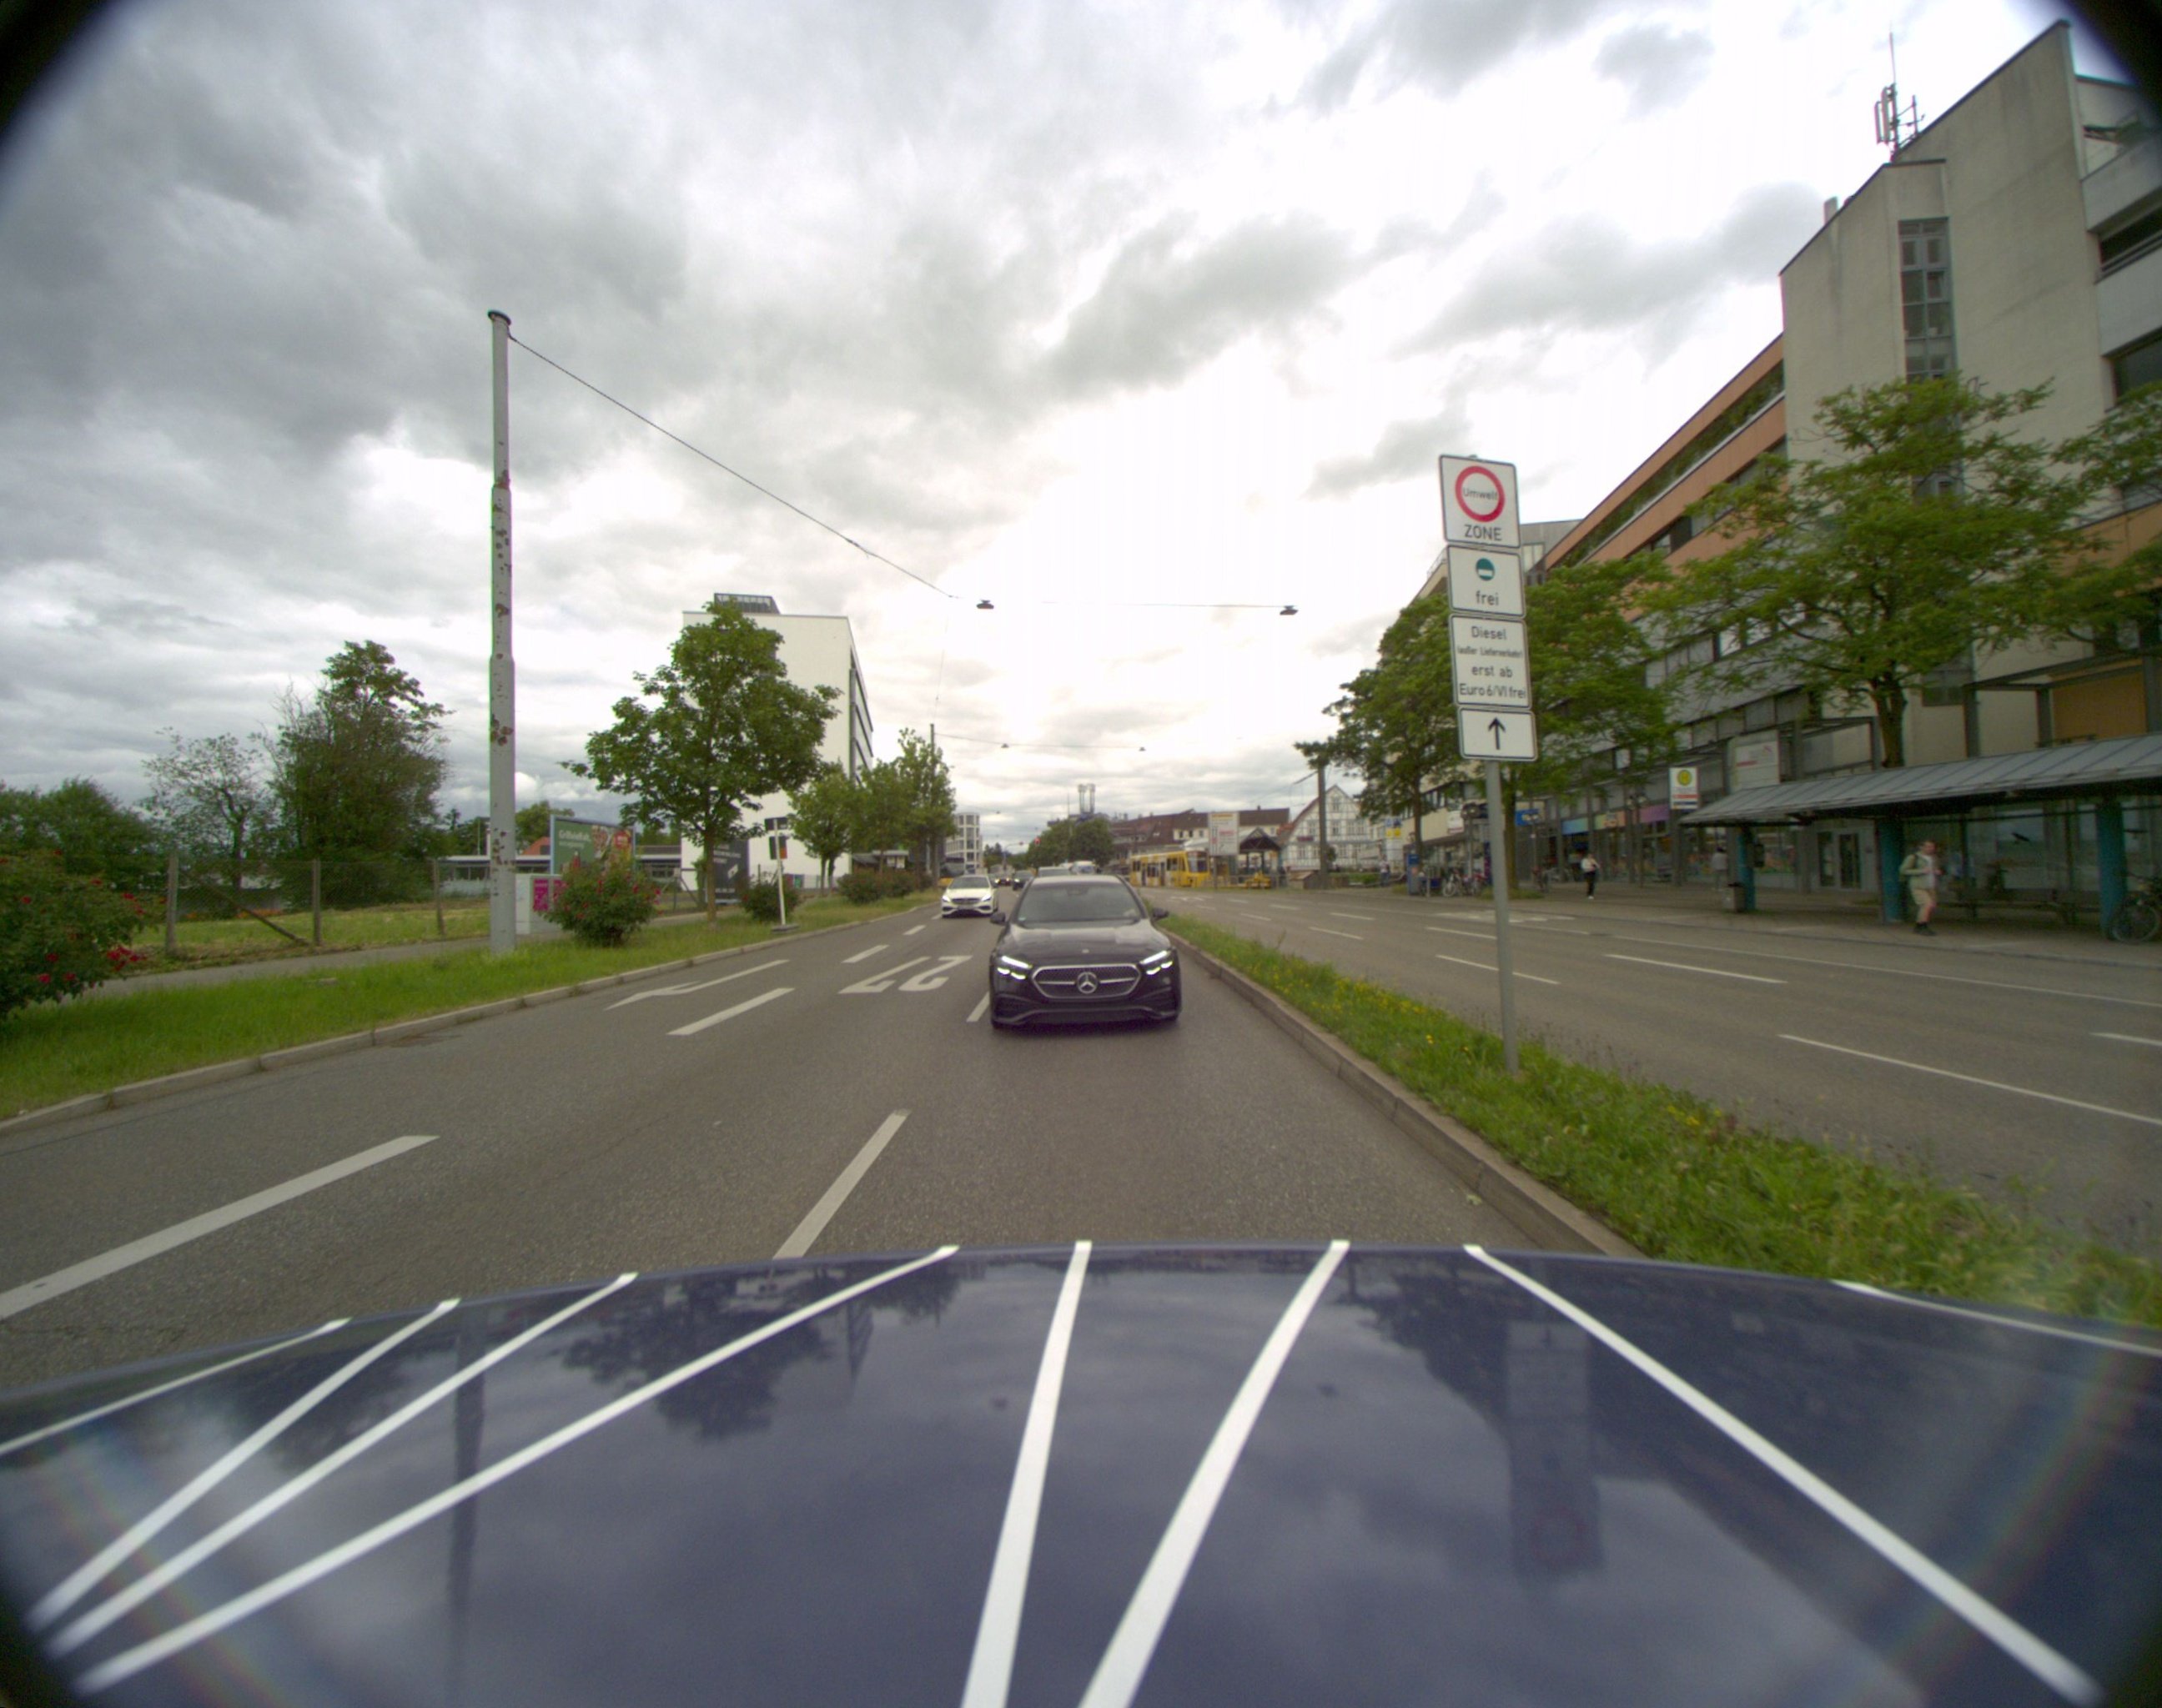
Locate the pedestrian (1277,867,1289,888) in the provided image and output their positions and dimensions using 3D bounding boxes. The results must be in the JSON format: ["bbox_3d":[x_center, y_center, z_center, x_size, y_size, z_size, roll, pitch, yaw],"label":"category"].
[{"bbox_3d":[14.887,1.717,55.922,0.601,1.564,0.620,-1,-1,-10],"label":"pedestrian"}]

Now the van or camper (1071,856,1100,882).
[{"bbox_3d":[0.434,1.616,80.191,2.039,2.582,6.112,1,-1,-9],"label":"van or camper"}]

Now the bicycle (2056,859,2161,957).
[{"bbox_3d":[18.529,0.860,12.942,2.908,1.497,0.972,-3,-1,-7],"label":"bicycle"}]

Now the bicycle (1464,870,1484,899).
[{"bbox_3d":[16.406,1.256,31.709,0.603,1.154,1.693,-1,-2,32],"label":"bicycle"}]

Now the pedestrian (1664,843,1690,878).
[{"bbox_3d":[28.545,0.320,36.401,0.651,1.690,0.668,-1,-1,-7],"label":"pedestrian"}]

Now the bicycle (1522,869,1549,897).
[{"bbox_3d":[19.406,1.234,32.434,0.672,1.154,2.023,-2,-2,40],"label":"bicycle"}]

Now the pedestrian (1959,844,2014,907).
[{"bbox_3d":[23.679,0.559,19.875,0.634,1.590,0.622,-3,0,-3],"label":"pedestrian"}]

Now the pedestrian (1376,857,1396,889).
[{"bbox_3d":[18.205,1.134,45.416,0.747,1.866,0.873,-1,-1,-7],"label":"pedestrian"}]

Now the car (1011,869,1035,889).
[{"bbox_3d":[-4.568,1.963,59.642,1.736,1.474,4.368,-2,-1,-5],"label":"car"}]

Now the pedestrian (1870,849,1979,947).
[{"bbox_3d":[16.494,0.831,14.901,0.705,1.812,1.213,-3,0,-2],"label":"pedestrian"}]

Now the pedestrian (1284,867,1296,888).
[{"bbox_3d":[15.531,1.724,56.451,0.601,1.564,0.620,-1,-1,-10],"label":"pedestrian"}]

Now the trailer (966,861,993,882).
[{"bbox_3d":[-22.061,3.853,164.690,3.115,4.242,14.829,-1,-2,-18],"label":"trailer"}]

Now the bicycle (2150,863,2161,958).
[{"bbox_3d":[18.725,0.822,11.960,2.908,1.497,0.891,-3,0,-7],"label":"bicycle"}]

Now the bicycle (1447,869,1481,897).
[{"bbox_3d":[16.703,1.262,33.147,0.604,1.154,1.966,-1,-1,4],"label":"bicycle"}]

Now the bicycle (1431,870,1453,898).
[{"bbox_3d":[15.589,1.282,32.808,0.603,1.154,1.969,-1,-2,33],"label":"bicycle"}]

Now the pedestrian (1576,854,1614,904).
[{"bbox_3d":[18.279,0.875,27.046,0.777,1.702,0.706,-3,0,-5],"label":"pedestrian"}]

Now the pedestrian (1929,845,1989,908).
[{"bbox_3d":[23.006,0.580,19.913,0.668,1.574,0.706,-3,0,-5],"label":"pedestrian"}]

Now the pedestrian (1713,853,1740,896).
[{"bbox_3d":[24.343,0.758,28.646,0.633,1.590,0.624,-3,0,32],"label":"pedestrian"}]

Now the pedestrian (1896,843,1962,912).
[{"bbox_3d":[21.849,0.597,19.600,0.774,1.706,0.788,-3,0,18],"label":"pedestrian"}]

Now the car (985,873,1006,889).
[{"bbox_3d":[-8.390,2.621,74.491,1.736,1.474,4.366,-2,-1,-10],"label":"car"}]

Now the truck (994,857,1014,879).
[{"bbox_3d":[-14.435,2.683,141.779,2.948,3.933,9.160,1,-2,-9],"label":"truck"}]

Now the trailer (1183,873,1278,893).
[{"bbox_3d":[11.258,2.182,58.887,2.851,1.324,12.117,-1,-2,-11],"label":"trailer"}]

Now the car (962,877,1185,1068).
[{"bbox_3d":[-0.109,1.113,9.085,1.872,1.542,4.774,-4,-1,-1],"label":"car"}]

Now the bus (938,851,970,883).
[{"bbox_3d":[-13.614,1.462,81.187,3.047,3.216,9.331,0,-2,-11],"label":"bus"}]

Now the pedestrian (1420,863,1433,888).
[{"bbox_3d":[24.095,1.510,52.964,0.551,1.690,0.628,-1,-1,-9],"label":"pedestrian"}]

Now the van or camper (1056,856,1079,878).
[{"bbox_3d":[-1.711,1.601,92.063,2.000,2.582,6.112,1,-1,-9],"label":"van or camper"}]

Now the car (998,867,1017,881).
[{"bbox_3d":[-8.986,2.429,93.319,1.735,1.544,4.370,-2,-1,1],"label":"car"}]

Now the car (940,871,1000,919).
[{"bbox_3d":[-4.120,1.419,27.722,1.874,1.496,4.769,-2,-1,-11],"label":"car"}]

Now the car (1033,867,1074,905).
[{"bbox_3d":[-1.290,1.510,37.098,1.735,1.680,4.370,-2,-1,1],"label":"car"}]

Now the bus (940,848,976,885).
[{"bbox_3d":[-11.763,1.205,71.882,2.993,3.221,9.858,-1,-1,-11],"label":"bus"}]

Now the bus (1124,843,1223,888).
[{"bbox_3d":[8.496,1.226,74.695,3.891,3.835,19.327,-1,-2,-11],"label":"bus"}]

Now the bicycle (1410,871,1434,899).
[{"bbox_3d":[15.060,1.345,33.510,0.603,1.154,1.969,-4,-2,33],"label":"bicycle"}]
